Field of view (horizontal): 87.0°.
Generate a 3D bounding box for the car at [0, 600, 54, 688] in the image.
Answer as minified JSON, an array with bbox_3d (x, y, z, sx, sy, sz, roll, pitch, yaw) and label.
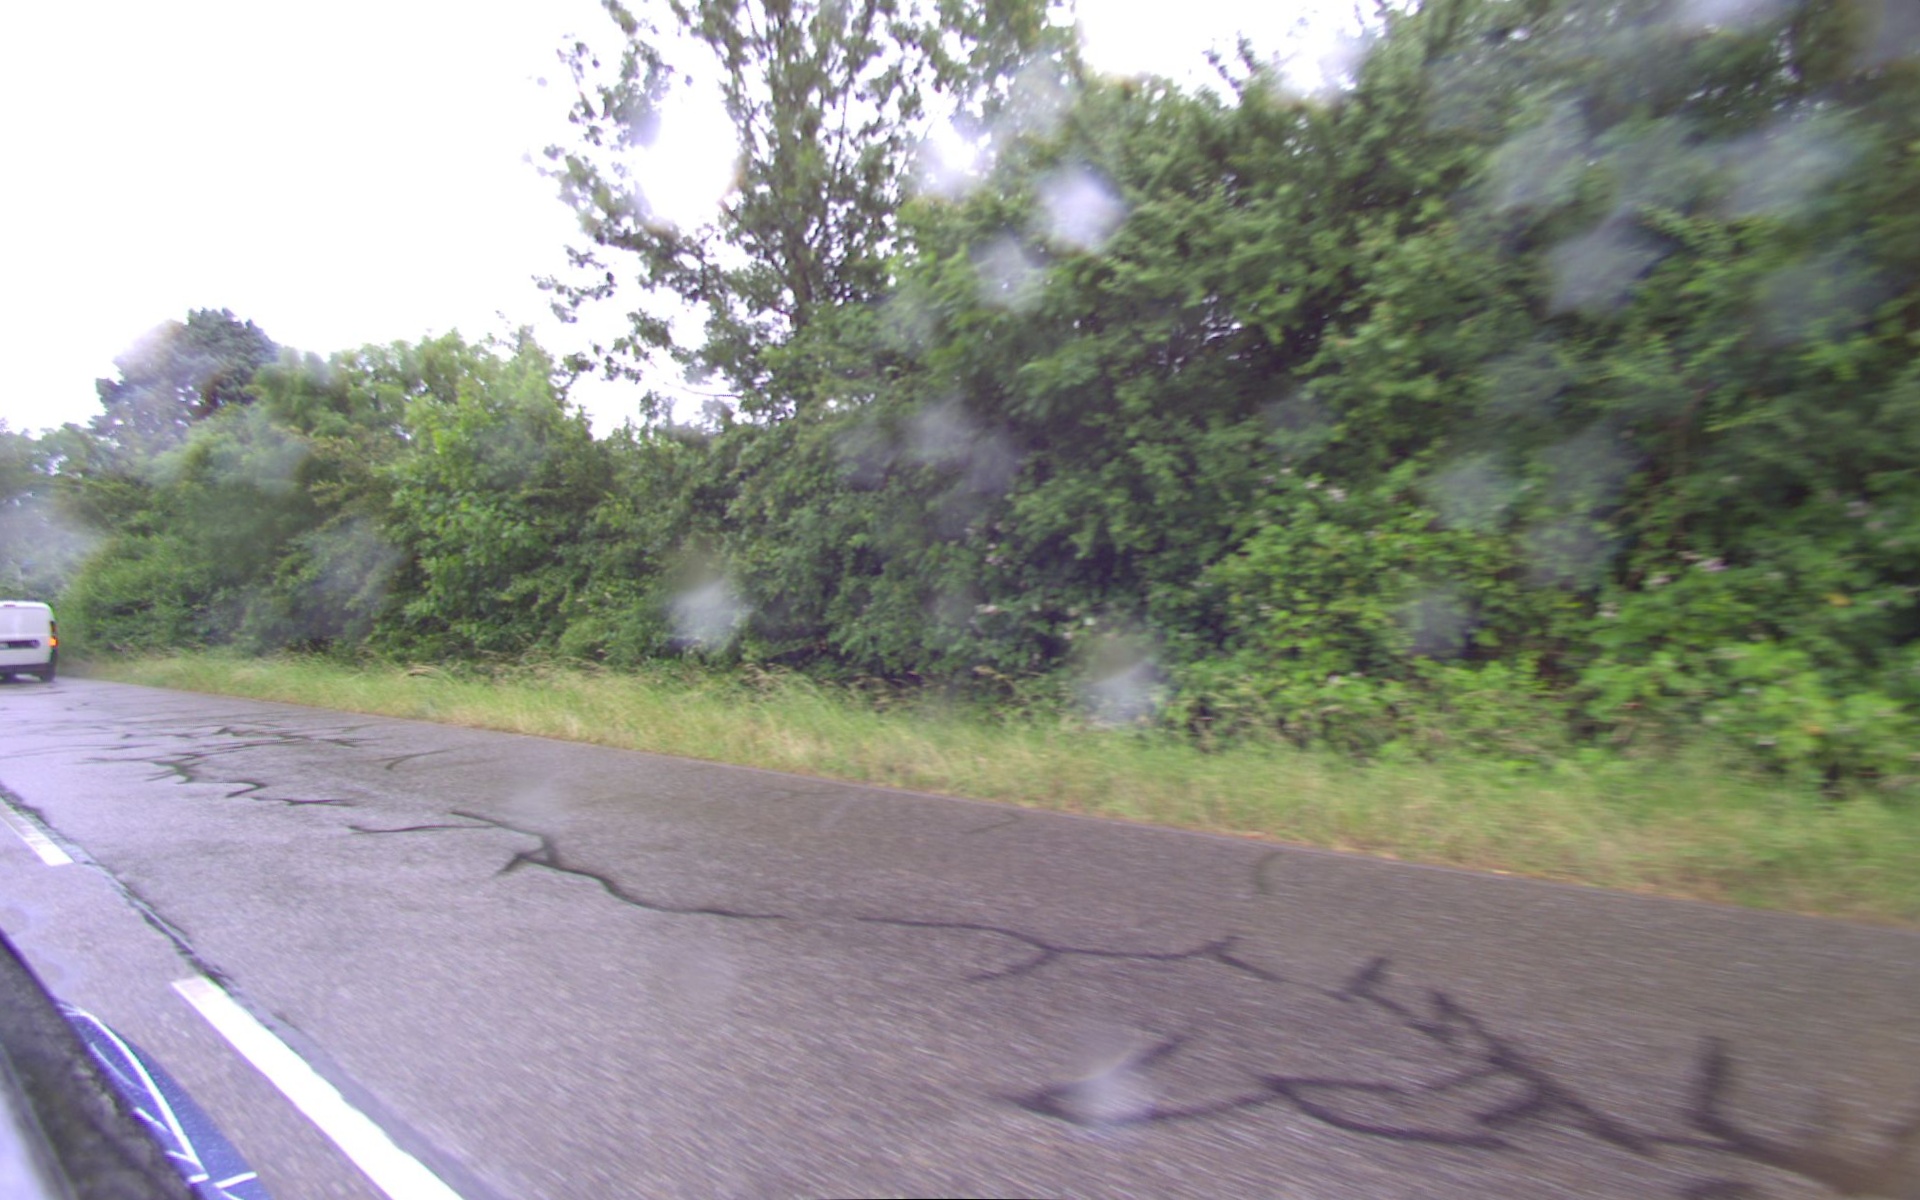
[{"bbox_3d":[-22.248,0.978,22.904,3.947,1.878,1.815,-1,0,36],"label":"car"}]
